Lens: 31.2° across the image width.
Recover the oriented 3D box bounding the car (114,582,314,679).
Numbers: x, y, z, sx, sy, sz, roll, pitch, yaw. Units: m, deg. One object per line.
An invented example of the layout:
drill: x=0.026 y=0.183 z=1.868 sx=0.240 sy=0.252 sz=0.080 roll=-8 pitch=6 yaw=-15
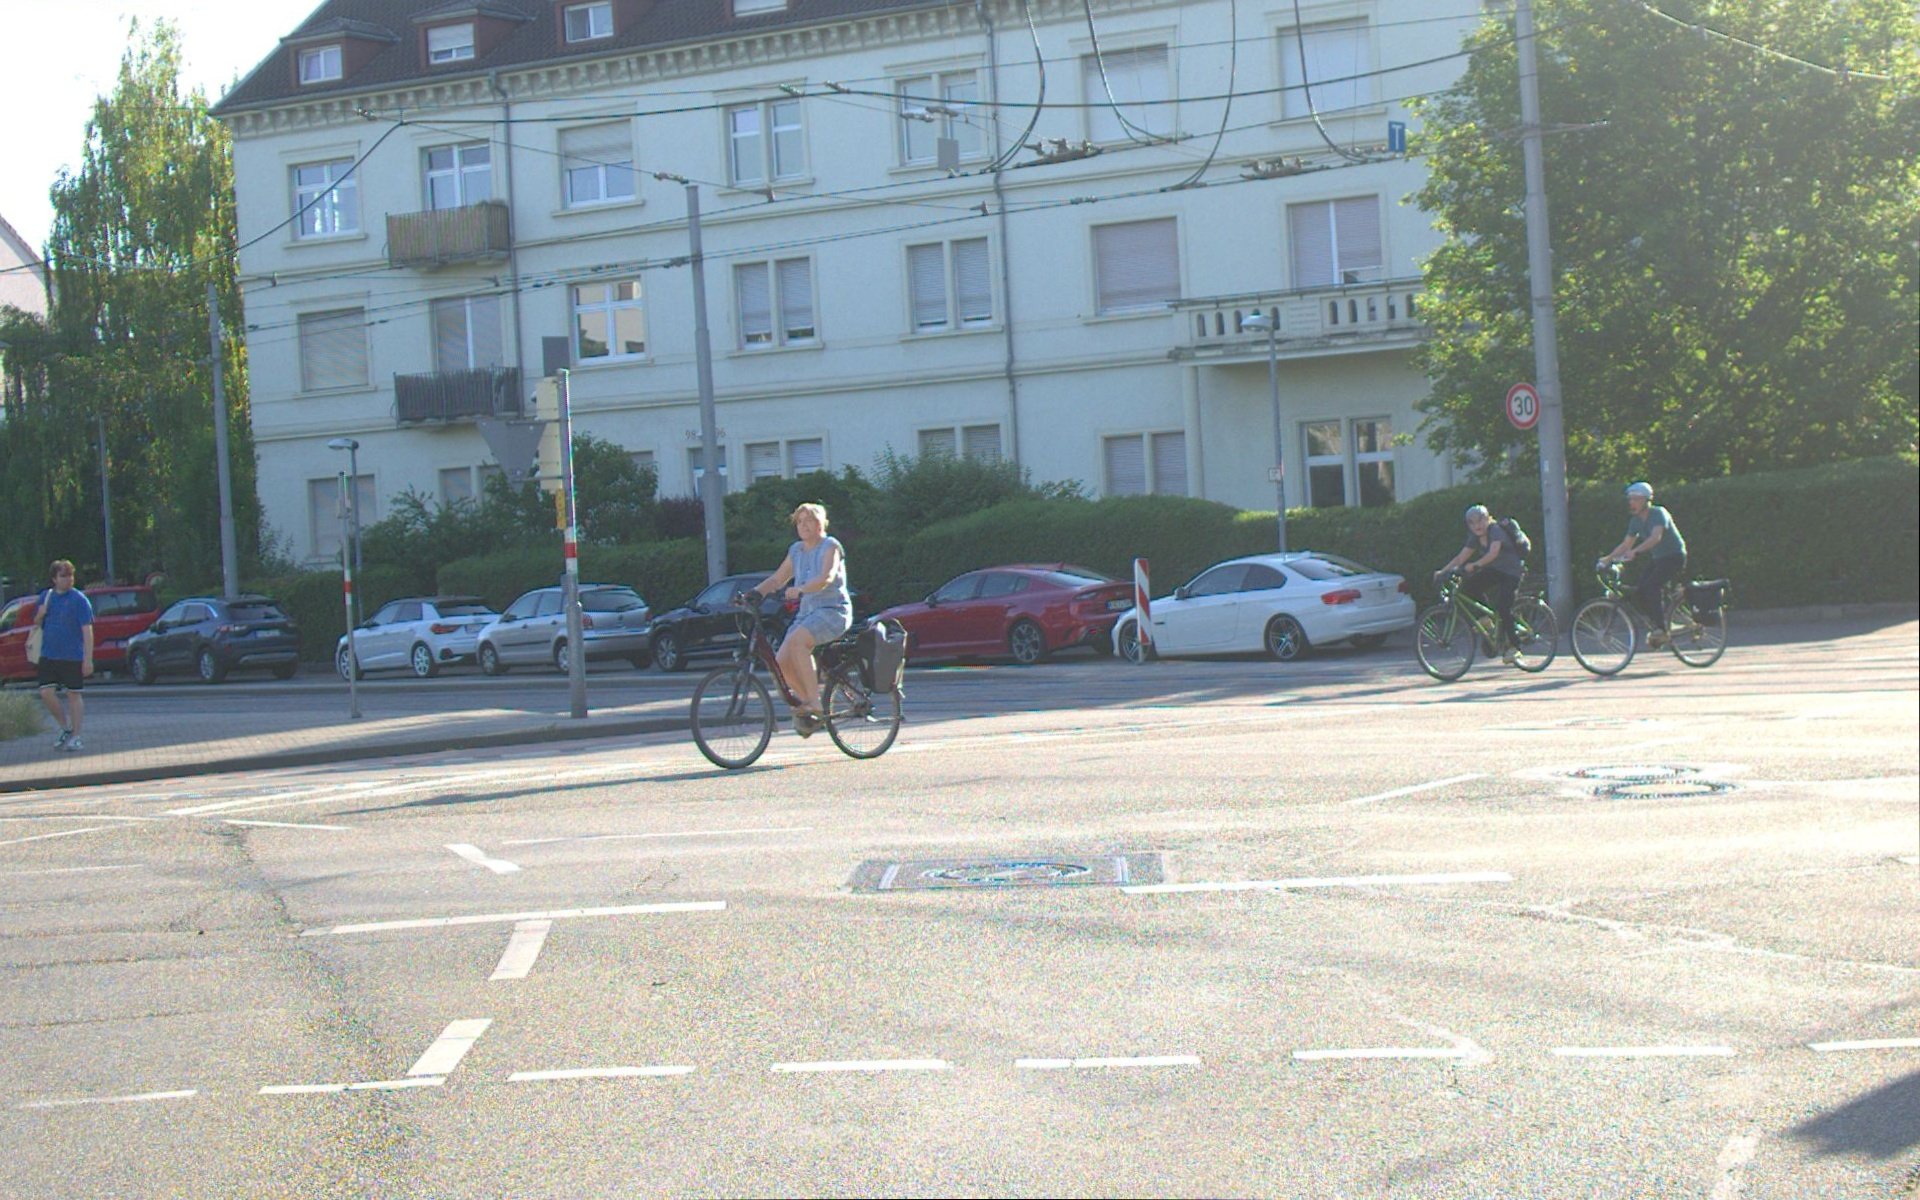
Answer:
car: x=-14.615 y=0.607 z=67.205 sx=1.840 sy=1.662 sz=4.368 roll=-7 pitch=3 yaw=-41

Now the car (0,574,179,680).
car: x=-18.651 y=0.590 z=72.246 sx=2.051 sy=1.955 sz=5.148 roll=-7 pitch=3 yaw=-41

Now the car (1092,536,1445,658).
car: x=4.087 y=-0.022 z=46.122 sx=1.926 sy=1.371 sz=4.494 roll=-7 pitch=3 yaw=-42

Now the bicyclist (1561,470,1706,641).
bicyclist: x=6.236 y=-0.411 z=31.864 sx=1.034 sy=1.526 sz=0.698 roll=-3 pitch=1 yaw=-23

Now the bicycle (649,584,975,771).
bicycle: x=-0.946 y=0.486 z=22.300 sx=2.013 sy=1.065 sz=0.663 roll=-4 pitch=1 yaw=-34

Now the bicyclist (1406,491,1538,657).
bicyclist: x=4.918 y=-0.250 z=33.025 sx=1.034 sy=1.526 sz=0.660 roll=-4 pitch=1 yaw=-39

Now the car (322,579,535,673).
car: x=-9.513 y=0.473 z=61.369 sx=1.840 sy=1.442 sz=3.957 roll=-7 pitch=3 yaw=-41

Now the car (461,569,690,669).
car: x=-6.499 y=0.329 z=57.875 sx=1.982 sy=1.442 sz=3.717 roll=-7 pitch=3 yaw=-41

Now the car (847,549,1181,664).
car: x=0.747 y=0.106 z=50.118 sx=4.702 sy=1.371 sz=1.982 roll=-2 pitch=3 yaw=44

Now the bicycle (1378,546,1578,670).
bicycle: x=4.978 y=0.071 z=32.966 sx=2.013 sy=1.065 sz=0.663 roll=-4 pitch=1 yaw=-39

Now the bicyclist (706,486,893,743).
bicyclist: x=-1.047 y=0.089 z=22.339 sx=0.855 sy=1.600 sz=0.777 roll=-3 pitch=1 yaw=-34

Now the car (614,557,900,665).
car: x=-3.264 y=0.194 z=54.628 sx=1.982 sy=1.442 sz=4.703 roll=-7 pitch=3 yaw=-41

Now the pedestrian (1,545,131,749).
pedestrian: x=-8.773 y=0.447 z=33.784 sx=0.912 sy=1.918 sz=1.067 roll=-3 pitch=1 yaw=-1

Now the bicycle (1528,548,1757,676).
bicycle: x=6.319 y=0.107 z=31.813 sx=2.012 sy=1.065 sz=0.664 roll=-3 pitch=1 yaw=-24
